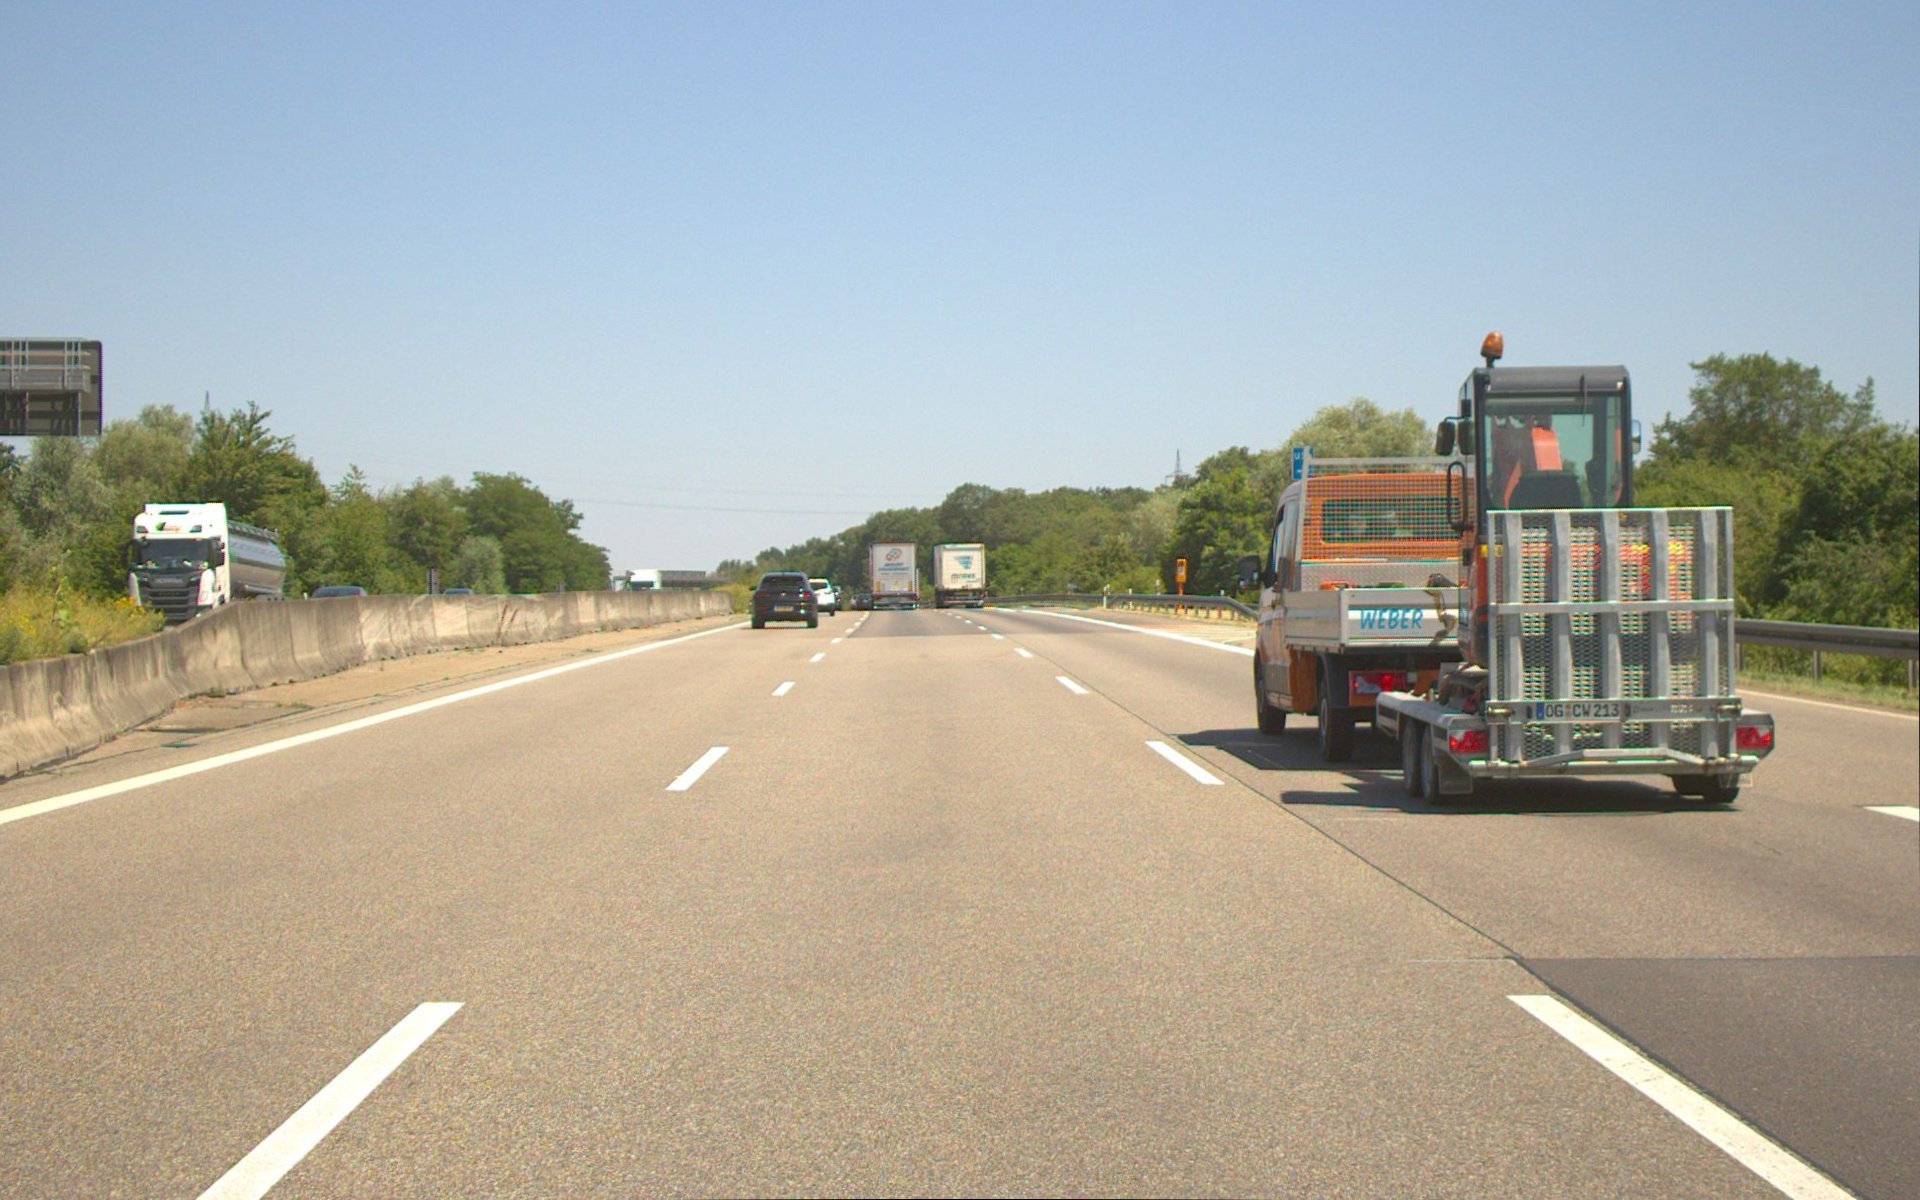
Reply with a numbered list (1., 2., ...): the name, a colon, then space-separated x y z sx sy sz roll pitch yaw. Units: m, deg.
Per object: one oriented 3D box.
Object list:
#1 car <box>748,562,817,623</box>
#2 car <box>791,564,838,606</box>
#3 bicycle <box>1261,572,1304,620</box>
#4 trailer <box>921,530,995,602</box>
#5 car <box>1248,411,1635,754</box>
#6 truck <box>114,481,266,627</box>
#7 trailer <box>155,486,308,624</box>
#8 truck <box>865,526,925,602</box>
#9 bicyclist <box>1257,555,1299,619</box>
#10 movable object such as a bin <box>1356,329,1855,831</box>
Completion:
1. car: -5.495 -0.238 106.914 1.993 1.868 4.000 0 0 -1
2. car: -6.560 -0.680 154.831 1.993 1.868 4.000 0 0 -1
3. bicycle: 8.233 -0.108 87.738 0.960 1.153 2.606 3 0 7
4. trailer: -0.157 -2.072 209.671 3.367 4.128 9.093 3 0 -6
5. car: 3.679 -0.149 27.719 1.993 2.397 7.226 0 0 -1
6. truck: -22.718 -1.354 101.782 2.807 4.033 7.731 3 0 -2
7. trailer: -22.932 -1.412 108.787 2.807 4.033 10.432 3 0 -2
8. truck: -3.783 -2.083 199.327 3.229 4.188 8.466 2 1 -2
9. bicyclist: 8.122 -0.336 87.717 0.960 1.590 0.807 3 0 7
10. movable object such as a bin: 3.898 -0.129 21.677 2.174 2.806 4.761 0 0 -1
